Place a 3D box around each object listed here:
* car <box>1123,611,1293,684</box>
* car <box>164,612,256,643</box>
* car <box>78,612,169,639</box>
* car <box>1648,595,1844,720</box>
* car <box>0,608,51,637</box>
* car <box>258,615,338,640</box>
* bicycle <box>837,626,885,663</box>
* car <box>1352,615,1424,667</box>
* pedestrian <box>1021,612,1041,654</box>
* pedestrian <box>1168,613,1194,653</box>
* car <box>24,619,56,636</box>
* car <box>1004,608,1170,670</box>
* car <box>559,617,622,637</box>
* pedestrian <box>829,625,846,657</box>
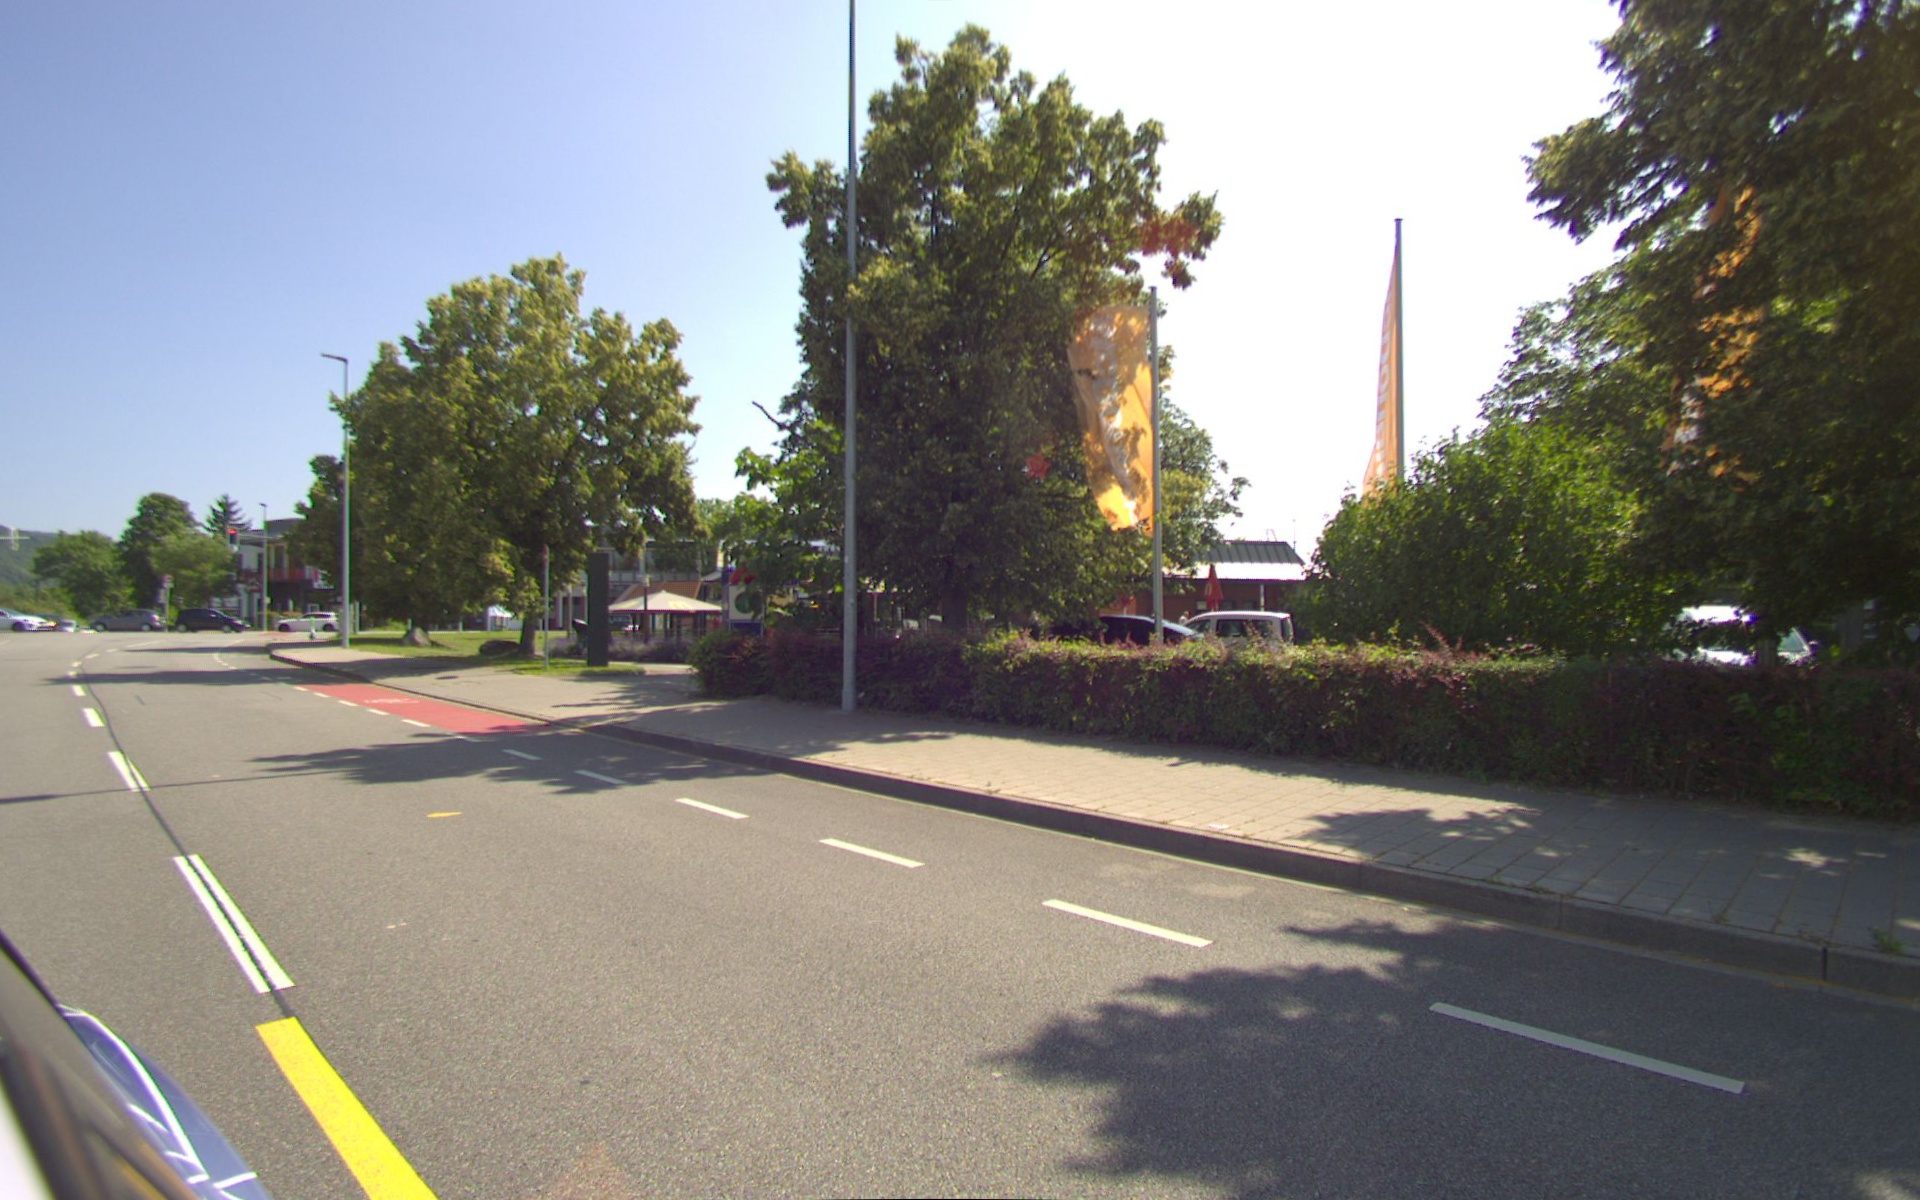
[{"bbox_3d":[6.646,1.228,27.144,4.201,1.812,1.746,-1,-1,23],"label":"car"},{"bbox_3d":[-47.409,1.741,64.068,4.297,1.863,1.837,1,2,-14],"label":"car"},{"bbox_3d":[-55.301,1.663,67.001,4.296,1.638,1.837,0,2,-16],"label":"car"},{"bbox_3d":[13.223,0.905,17.320,1.740,1.841,4.315,-1,-2,26],"label":"car"},{"bbox_3d":[-58.692,1.342,61.633,4.689,1.664,1.836,1,2,-12],"label":"car"},{"bbox_3d":[-45.672,1.891,69.935,4.296,1.638,1.837,0,2,-16],"label":"car"},{"bbox_3d":[-3.439,1.535,35.124,1.585,1.195,0.310,-2,2,-13],"label":"bicycle"},{"bbox_3d":[14.032,1.289,33.110,1.616,1.543,3.573,-1,-1,32],"label":"car"},{"bbox_3d":[2.735,1.258,38.953,0.595,1.579,0.565,-1,-1,33],"label":"pedestrian"},{"bbox_3d":[9.392,1.393,42.996,0.831,1.650,0.779,-1,-1,35],"label":"pedestrian"},{"bbox_3d":[-68.842,2.027,75.732,1.587,1.265,3.685,1,-2,-45],"label":"car"},{"bbox_3d":[3.279,0.969,26.187,3.975,1.505,1.643,0,-1,24],"label":"car"},{"bbox_3d":[-27.411,1.984,75.218,4.296,1.356,1.837,0,2,-16],"label":"car"},{"bbox_3d":[-4.900,1.626,40.442,0.543,1.219,0.593,-4,3,-10],"label":"pedestrian"}]
